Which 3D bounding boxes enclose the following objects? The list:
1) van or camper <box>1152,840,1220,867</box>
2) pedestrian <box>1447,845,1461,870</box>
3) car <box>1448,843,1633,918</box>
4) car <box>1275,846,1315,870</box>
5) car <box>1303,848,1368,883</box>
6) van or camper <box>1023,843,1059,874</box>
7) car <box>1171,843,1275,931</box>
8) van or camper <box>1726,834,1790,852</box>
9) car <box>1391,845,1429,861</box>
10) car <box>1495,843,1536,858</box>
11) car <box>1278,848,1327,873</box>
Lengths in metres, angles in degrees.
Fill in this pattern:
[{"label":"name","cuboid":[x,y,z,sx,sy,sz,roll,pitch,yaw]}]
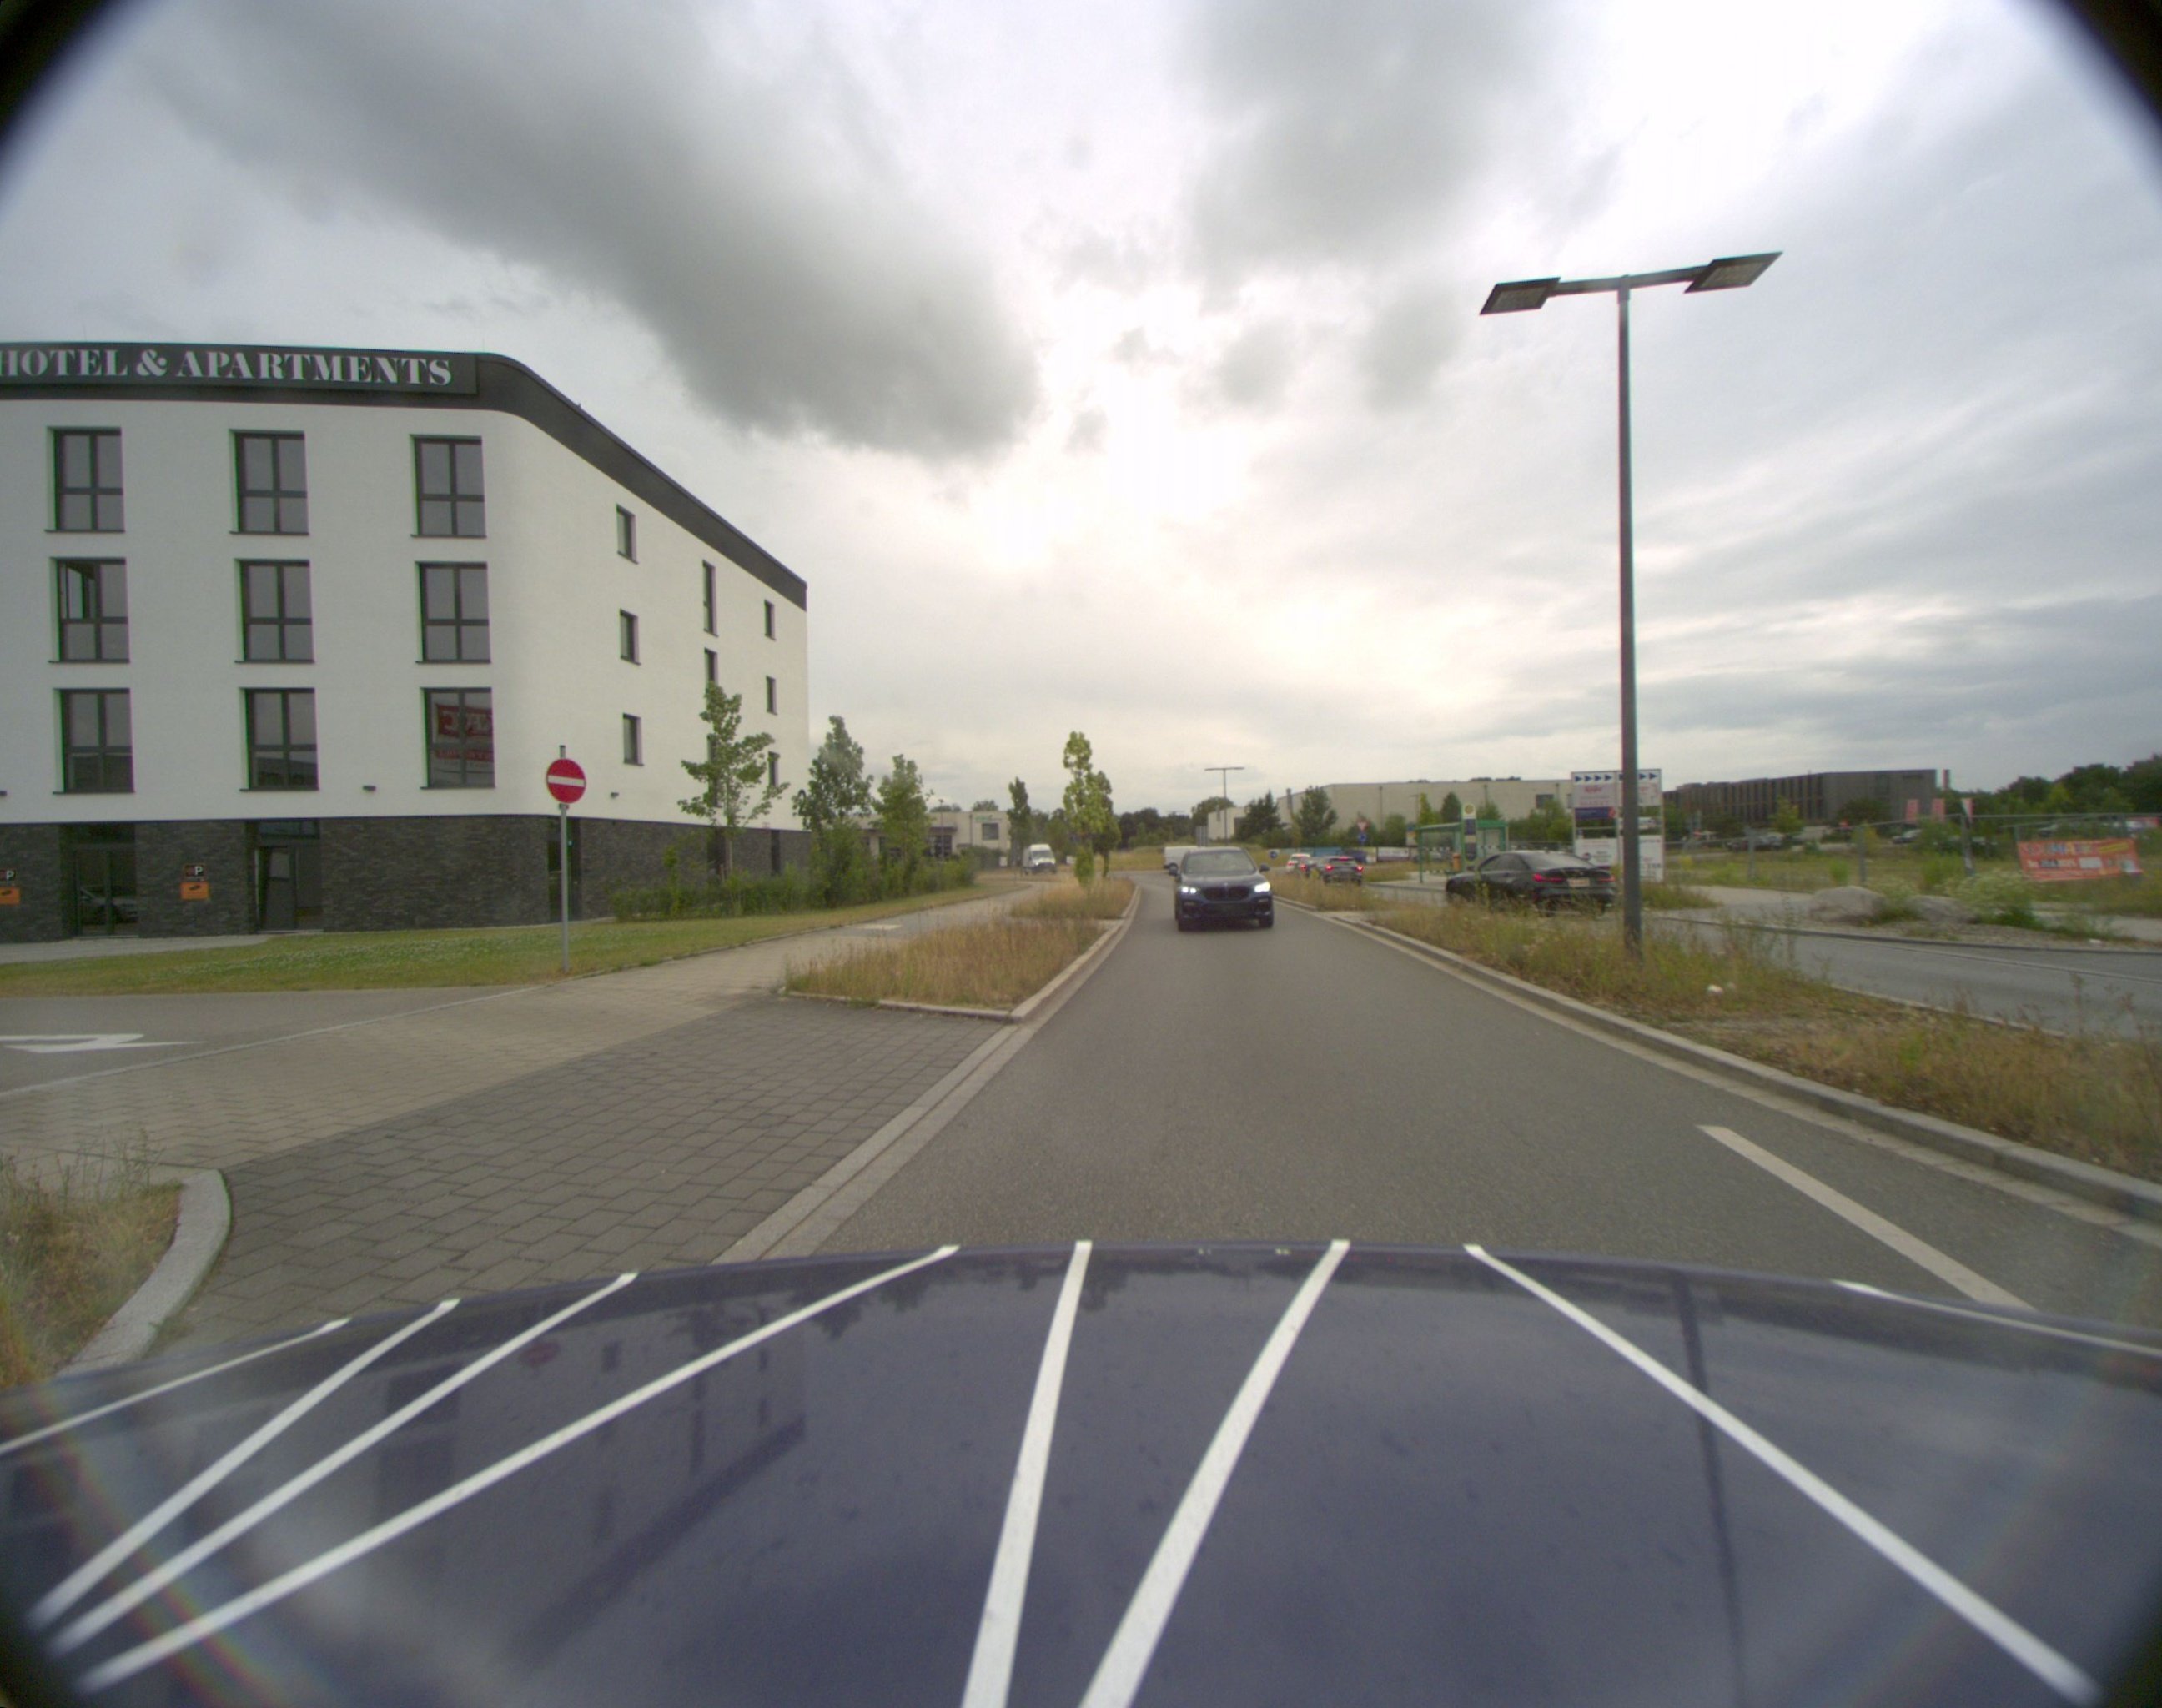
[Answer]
[{"label":"van or camper","cuboid":[7.914,-0.017,57.330,4.832,1.880,1.986,-1,0,16]},{"label":"pedestrian","cuboid":[25.686,0.218,52.294,0.741,1.712,0.652,1,2,40]},{"label":"car","cuboid":[10.240,0.515,17.407,1.783,1.437,4.611,-2,0,6]},{"label":"car","cuboid":[14.357,0.242,51.197,1.756,1.472,4.056,-1,1,4]},{"label":"car","cuboid":[11.952,0.509,35.961,1.796,1.458,4.321,-1,1,3]},{"label":"van or camper","cuboid":[-3.535,0.346,65.564,2.001,2.567,5.458,-1,1,-15]},{"label":"car","cuboid":[2.952,0.604,16.237,1.892,1.630,4.002,-1,1,9]},{"label":"van or camper","cuboid":[67.739,-1.093,76.078,4.568,1.739,2.000,-1,1,2]},{"label":"car","cuboid":[29.098,-0.078,67.144,3.299,1.346,1.556,-2,1,-36]},{"label":"car","cuboid":[41.842,-0.367,73.124,4.071,1.335,1.714,-2,2,-32]},{"label":"car","cuboid":[12.619,0.332,43.500,1.789,1.387,4.372,0,1,4]}]
